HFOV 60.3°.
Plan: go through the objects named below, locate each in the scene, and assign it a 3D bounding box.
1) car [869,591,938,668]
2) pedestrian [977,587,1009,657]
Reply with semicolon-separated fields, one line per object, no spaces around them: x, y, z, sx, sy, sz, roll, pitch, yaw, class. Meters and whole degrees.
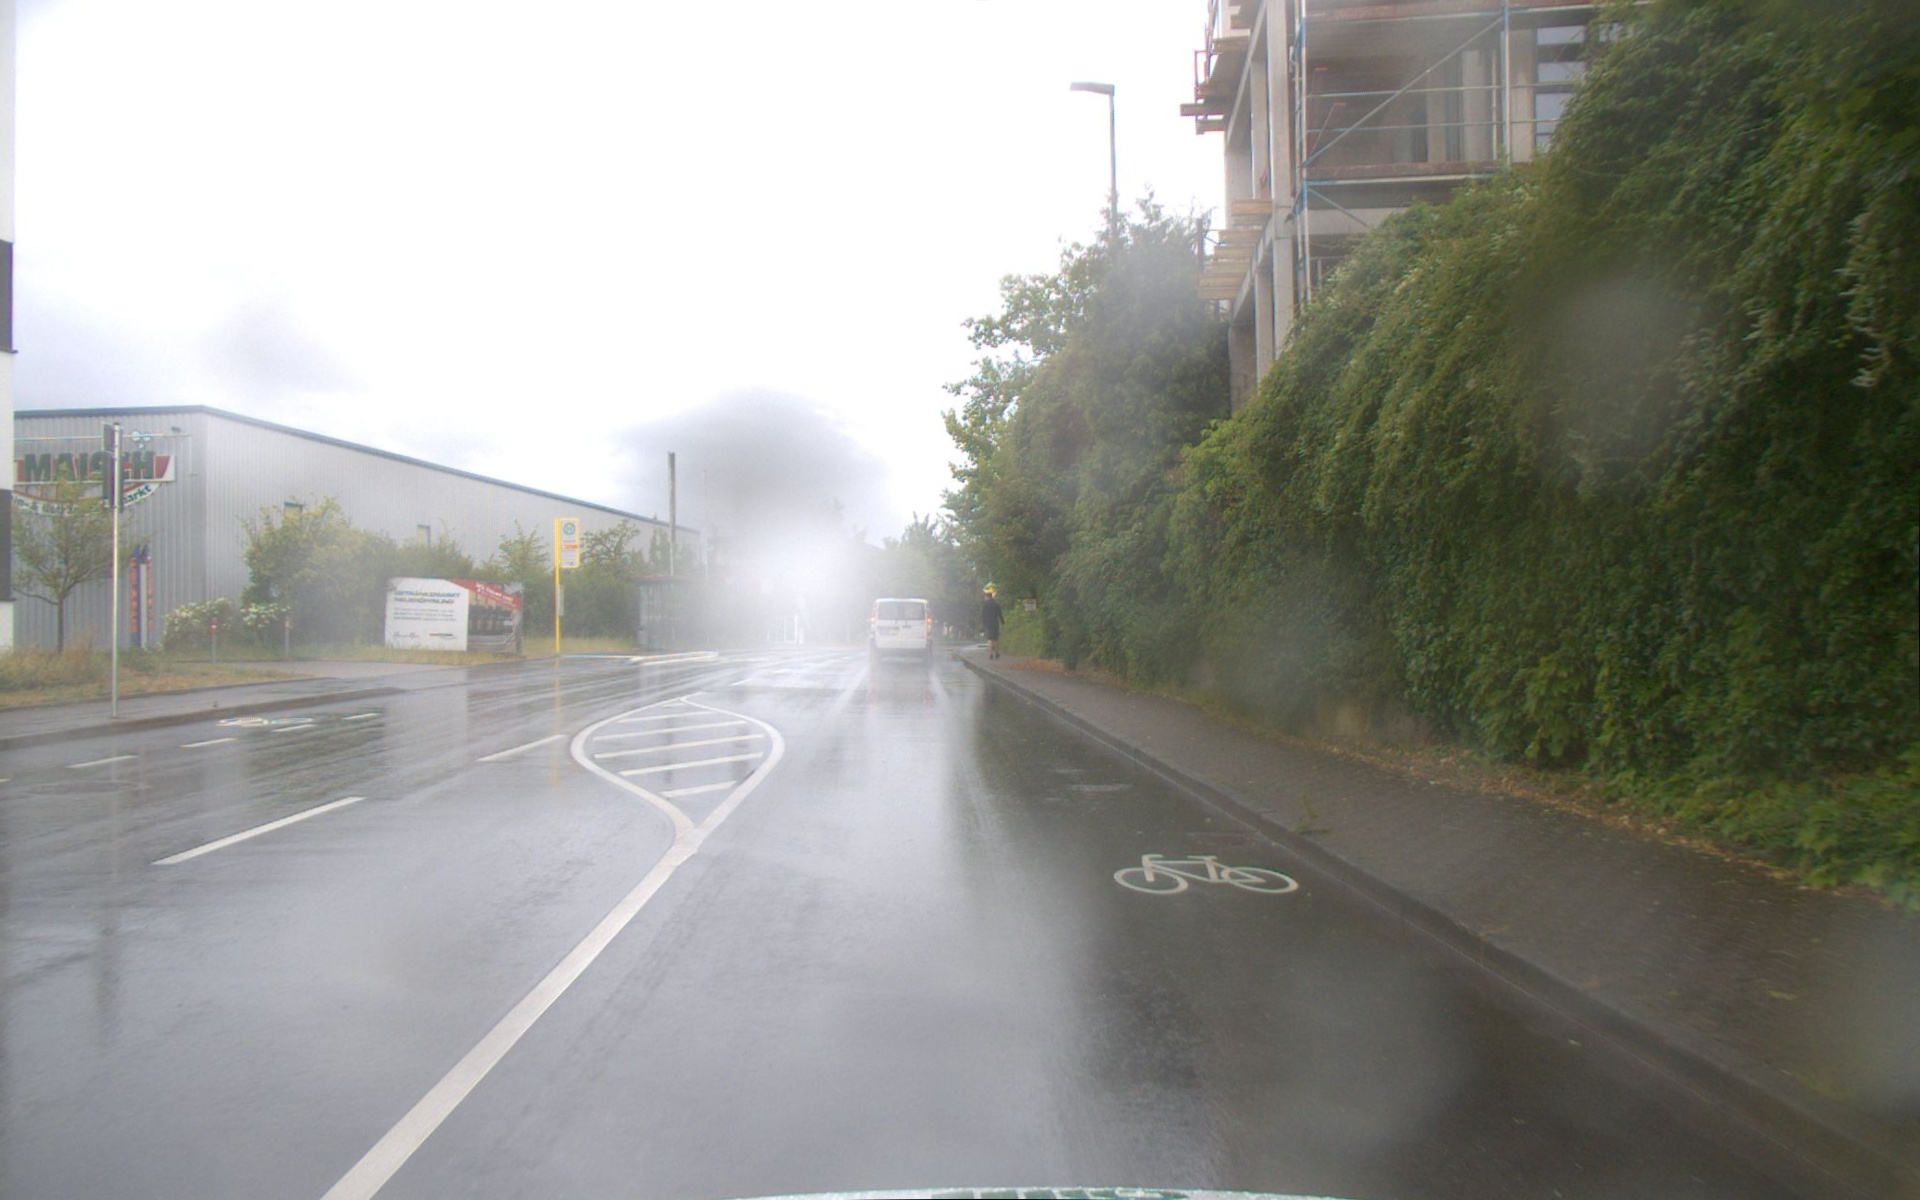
-1.652;0.847;49.241;1.860;2.053;5.371;-3;0;-1;car
0.952;0.639;47.384;0.761;1.940;0.728;-3;-2;-3;pedestrian
